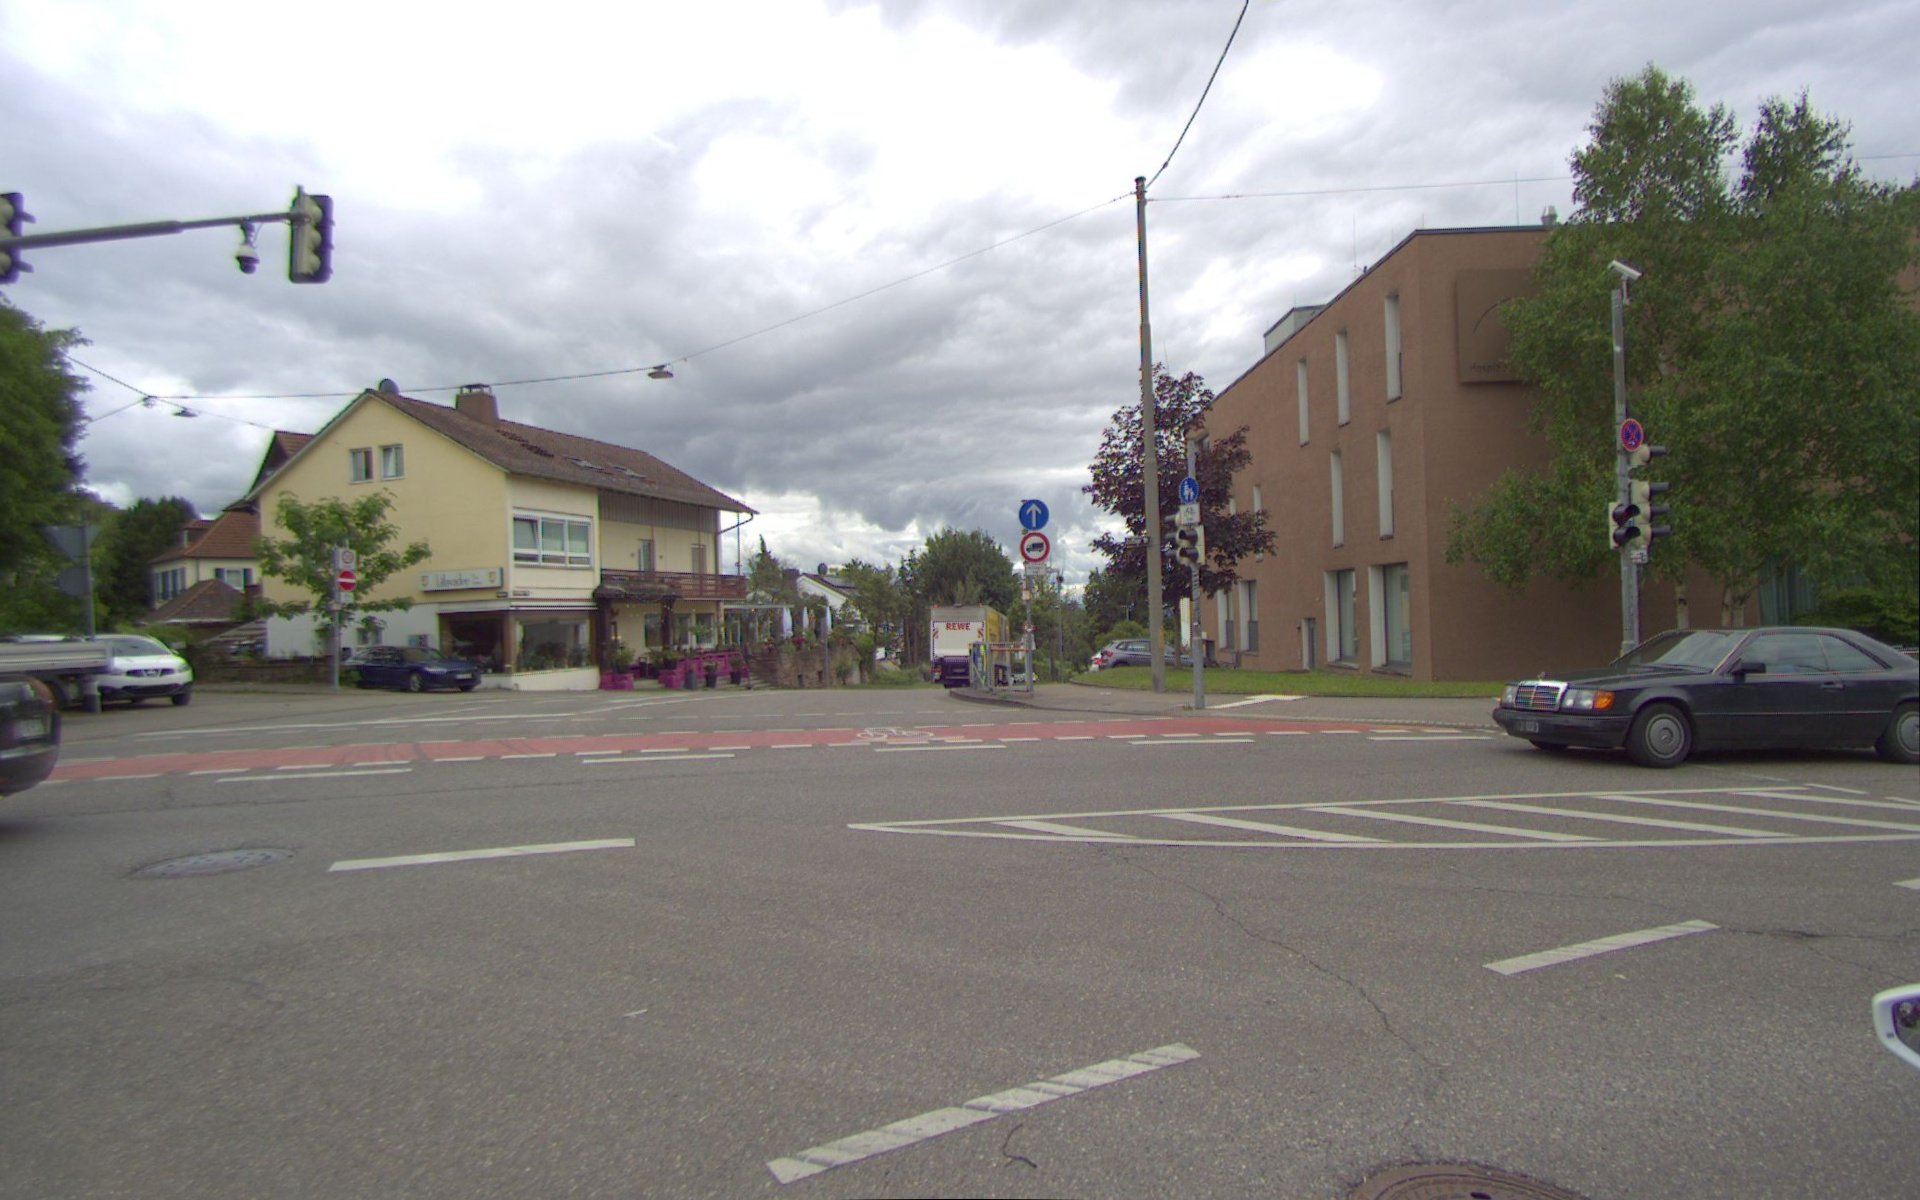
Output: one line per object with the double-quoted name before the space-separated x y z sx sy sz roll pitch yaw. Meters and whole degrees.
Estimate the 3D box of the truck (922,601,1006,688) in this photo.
"truck" 0.359 2.252 49.077 2.958 3.847 8.322 0 -4 8

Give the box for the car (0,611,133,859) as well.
"car" -8.033 0.787 5.577 4.997 1.441 1.985 1 -2 -30

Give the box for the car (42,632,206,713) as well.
"car" -18.617 1.547 22.333 3.937 1.634 1.992 -2 -3 38

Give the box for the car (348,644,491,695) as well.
"car" -16.632 2.099 30.919 3.924 1.468 1.880 -1 -2 24

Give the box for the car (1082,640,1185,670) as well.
"car" 6.731 2.149 39.206 3.769 1.105 1.787 -1 -2 3

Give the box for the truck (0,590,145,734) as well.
"truck" -16.103 0.915 14.496 2.478 2.217 6.723 0 -2 10

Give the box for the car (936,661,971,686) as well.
"car" -0.443 5.152 70.538 1.959 1.714 4.004 -1 -4 7

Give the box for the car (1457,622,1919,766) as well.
"car" 8.041 0.926 10.570 4.775 1.345 1.851 0 -2 -5

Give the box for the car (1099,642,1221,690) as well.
"car" 6.888 2.255 34.881 3.925 1.541 1.787 1 -2 3
